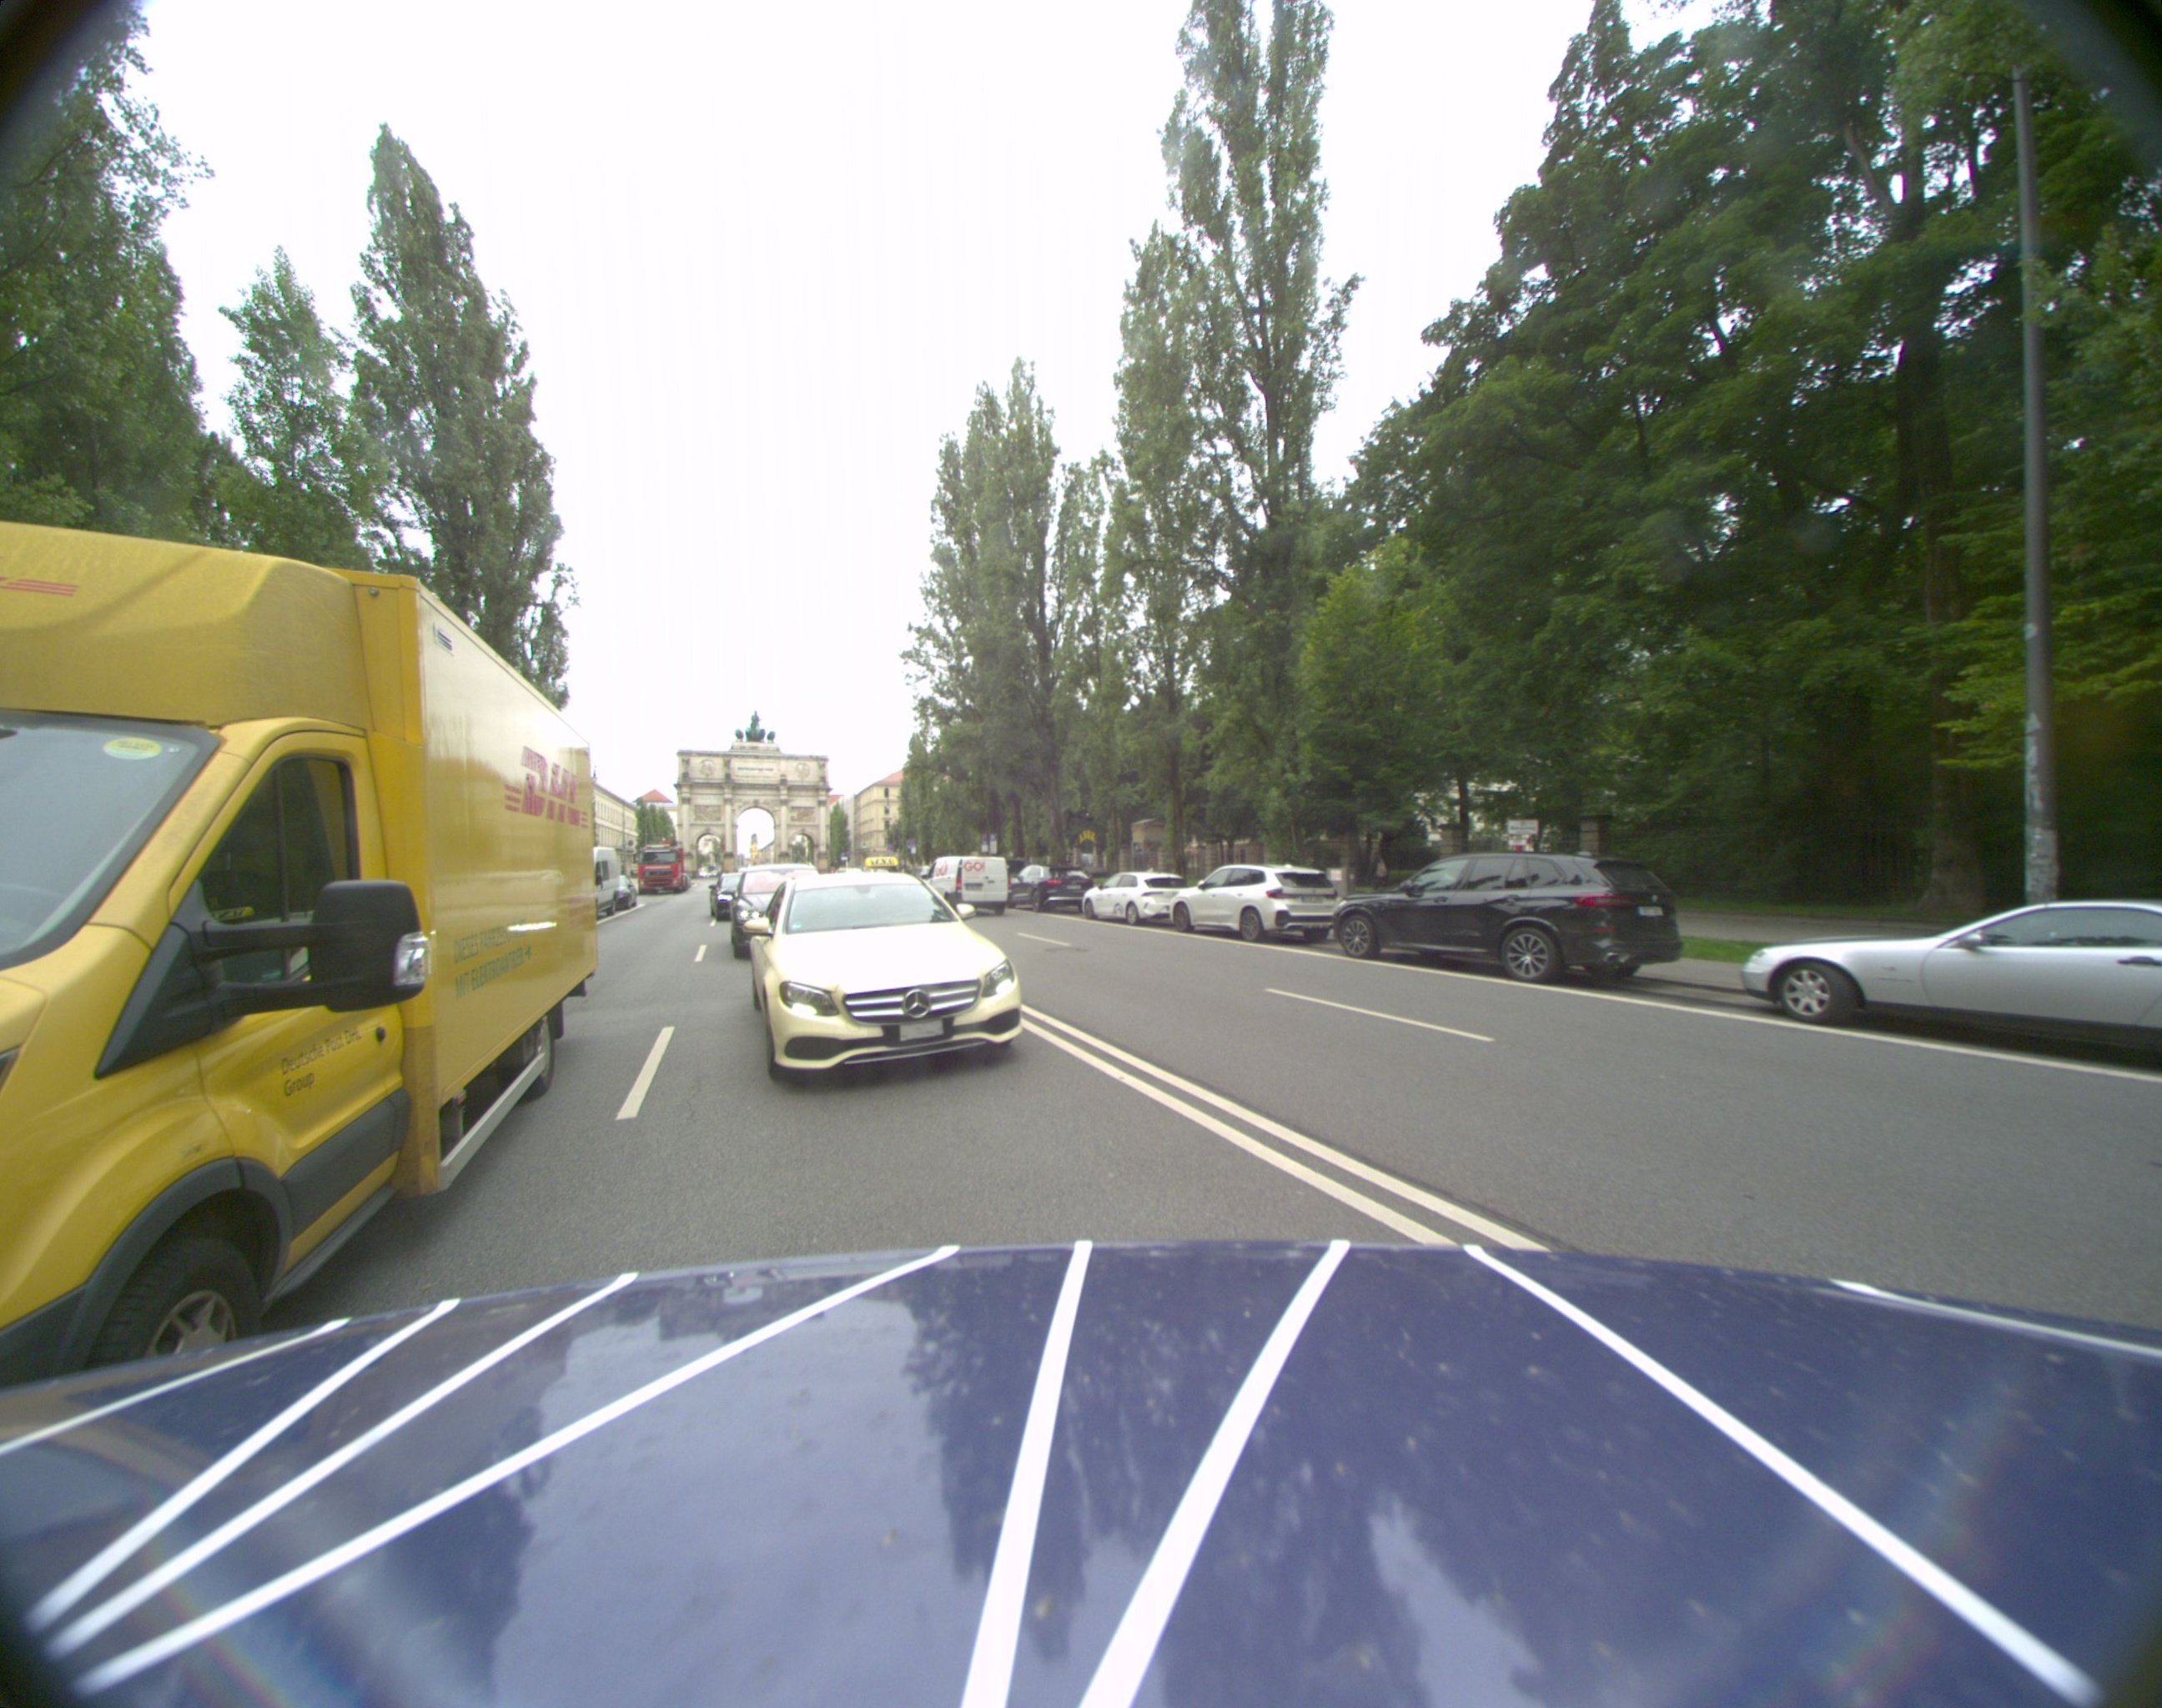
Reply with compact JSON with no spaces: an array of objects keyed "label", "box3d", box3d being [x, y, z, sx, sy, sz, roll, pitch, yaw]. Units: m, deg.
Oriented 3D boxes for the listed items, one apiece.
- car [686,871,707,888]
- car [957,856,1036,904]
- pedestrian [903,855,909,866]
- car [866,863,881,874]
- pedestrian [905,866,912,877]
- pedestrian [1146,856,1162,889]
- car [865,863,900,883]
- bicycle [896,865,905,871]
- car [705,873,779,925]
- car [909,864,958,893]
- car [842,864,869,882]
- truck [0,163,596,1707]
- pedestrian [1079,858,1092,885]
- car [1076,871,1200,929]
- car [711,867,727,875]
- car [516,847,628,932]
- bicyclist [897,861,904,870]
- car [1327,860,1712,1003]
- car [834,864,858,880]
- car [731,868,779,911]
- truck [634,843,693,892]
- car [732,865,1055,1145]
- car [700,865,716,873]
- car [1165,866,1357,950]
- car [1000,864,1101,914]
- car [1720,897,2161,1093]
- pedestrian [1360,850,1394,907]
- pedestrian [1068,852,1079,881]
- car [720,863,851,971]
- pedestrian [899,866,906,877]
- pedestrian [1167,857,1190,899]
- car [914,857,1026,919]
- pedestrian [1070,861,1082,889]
[{"label":"car","box3d":[-40.057,2.626,79.155,1.811,1.619,3.992,-1,0,-25]},{"label":"car","box3d":[-3.815,1.117,33.529,2.003,1.944,4.927,1,-1,-24]},{"label":"pedestrian","box3d":[-32.165,1.239,139.550,0.754,2.002,0.796,-1,0,31]},{"label":"car","box3d":[-37.897,2.682,138.593,2.008,1.844,4.981,0,0,-22]},{"label":"pedestrian","box3d":[-25.814,2.583,113.700,0.847,1.668,0.966,-1,0,-7]},{"label":"pedestrian","box3d":[3.925,0.995,40.876,0.552,1.737,0.671,-2,1,-25]},{"label":"car","box3d":[-15.887,1.541,60.656,1.939,1.488,4.781,0,-1,-23]},{"label":"bicycle","box3d":[-29.831,2.318,125.582,0.708,0.933,1.737,-2,0,19]},{"label":"car","box3d":[-10.832,1.351,24.192,1.926,1.320,4.402,-3,1,-26]},{"label":"car","box3d":[-8.593,1.371,43.990,1.790,1.586,4.604,1,-1,-24]},{"label":"car","box3d":[-22.002,1.848,73.998,1.946,1.615,4.955,0,0,-24]},{"label":"truck","box3d":[-4.144,0.334,3.474,2.338,2.881,7.317,-1,0,-26]},{"label":"pedestrian","box3d":[0.288,1.113,47.548,0.552,1.659,0.531,-2,1,-25]},{"label":"car","box3d":[1.491,1.211,21.530,1.684,1.413,4.229,1,-1,-24]},{"label":"car","box3d":[-77.881,3.707,163.530,1.788,1.739,4.318,-1,-1,-8]},{"label":"car","box3d":[-17.105,1.094,25.912,2.083,2.464,6.271,-2,0,-24]},{"label":"bicyclist","box3d":[-29.848,1.910,125.602,0.694,1.489,0.863,-1,0,20]},{"label":"car","box3d":[6.088,0.956,11.287,1.889,1.648,4.708,2,-2,-25]},{"label":"car","box3d":[-24.939,1.889,80.660,1.827,1.550,4.849,1,-1,-24]},{"label":"car","box3d":[-15.332,1.607,35.744,1.893,1.846,4.304,-1,0,-23]},{"label":"truck","box3d":[-29.115,0.910,53.356,2.726,3.091,10.406,-1,0,-24]},{"label":"car","box3d":[-2.100,0.942,7.083,1.923,1.566,4.679,-3,1,-26]},{"label":"car","box3d":[-77.427,3.117,157.835,1.788,1.739,4.318,-1,-1,-8]},{"label":"car","box3d":[3.748,1.069,16.727,1.793,1.579,4.453,1,-1,-23]},{"label":"car","box3d":[-1.219,1.190,27.274,1.824,1.599,5.043,1,-1,-24]},{"label":"car","box3d":[8.225,1.094,6.443,1.587,1.297,4.021,1,-1,-23]},{"label":"pedestrian","box3d":[9.547,0.774,24.547,0.643,1.804,0.774,-1,0,-24]},{"label":"pedestrian","box3d":[-0.511,0.878,51.677,0.552,1.948,0.531,-2,1,-25]},{"label":"car","box3d":[-5.787,1.048,14.663,1.957,1.615,4.403,-3,1,-24]},{"label":"pedestrian","box3d":[-26.717,2.609,113.685,0.847,1.668,0.966,-1,0,-7]},{"label":"pedestrian","box3d":[4.094,0.996,32.061,0.585,1.710,0.785,-2,0,-25]},{"label":"car","box3d":[-3.958,1.066,26.076,2.193,1.880,5.684,1,-1,-26]},{"label":"pedestrian","box3d":[-0.330,1.287,47.307,0.552,1.691,0.531,-2,1,-25]}]
